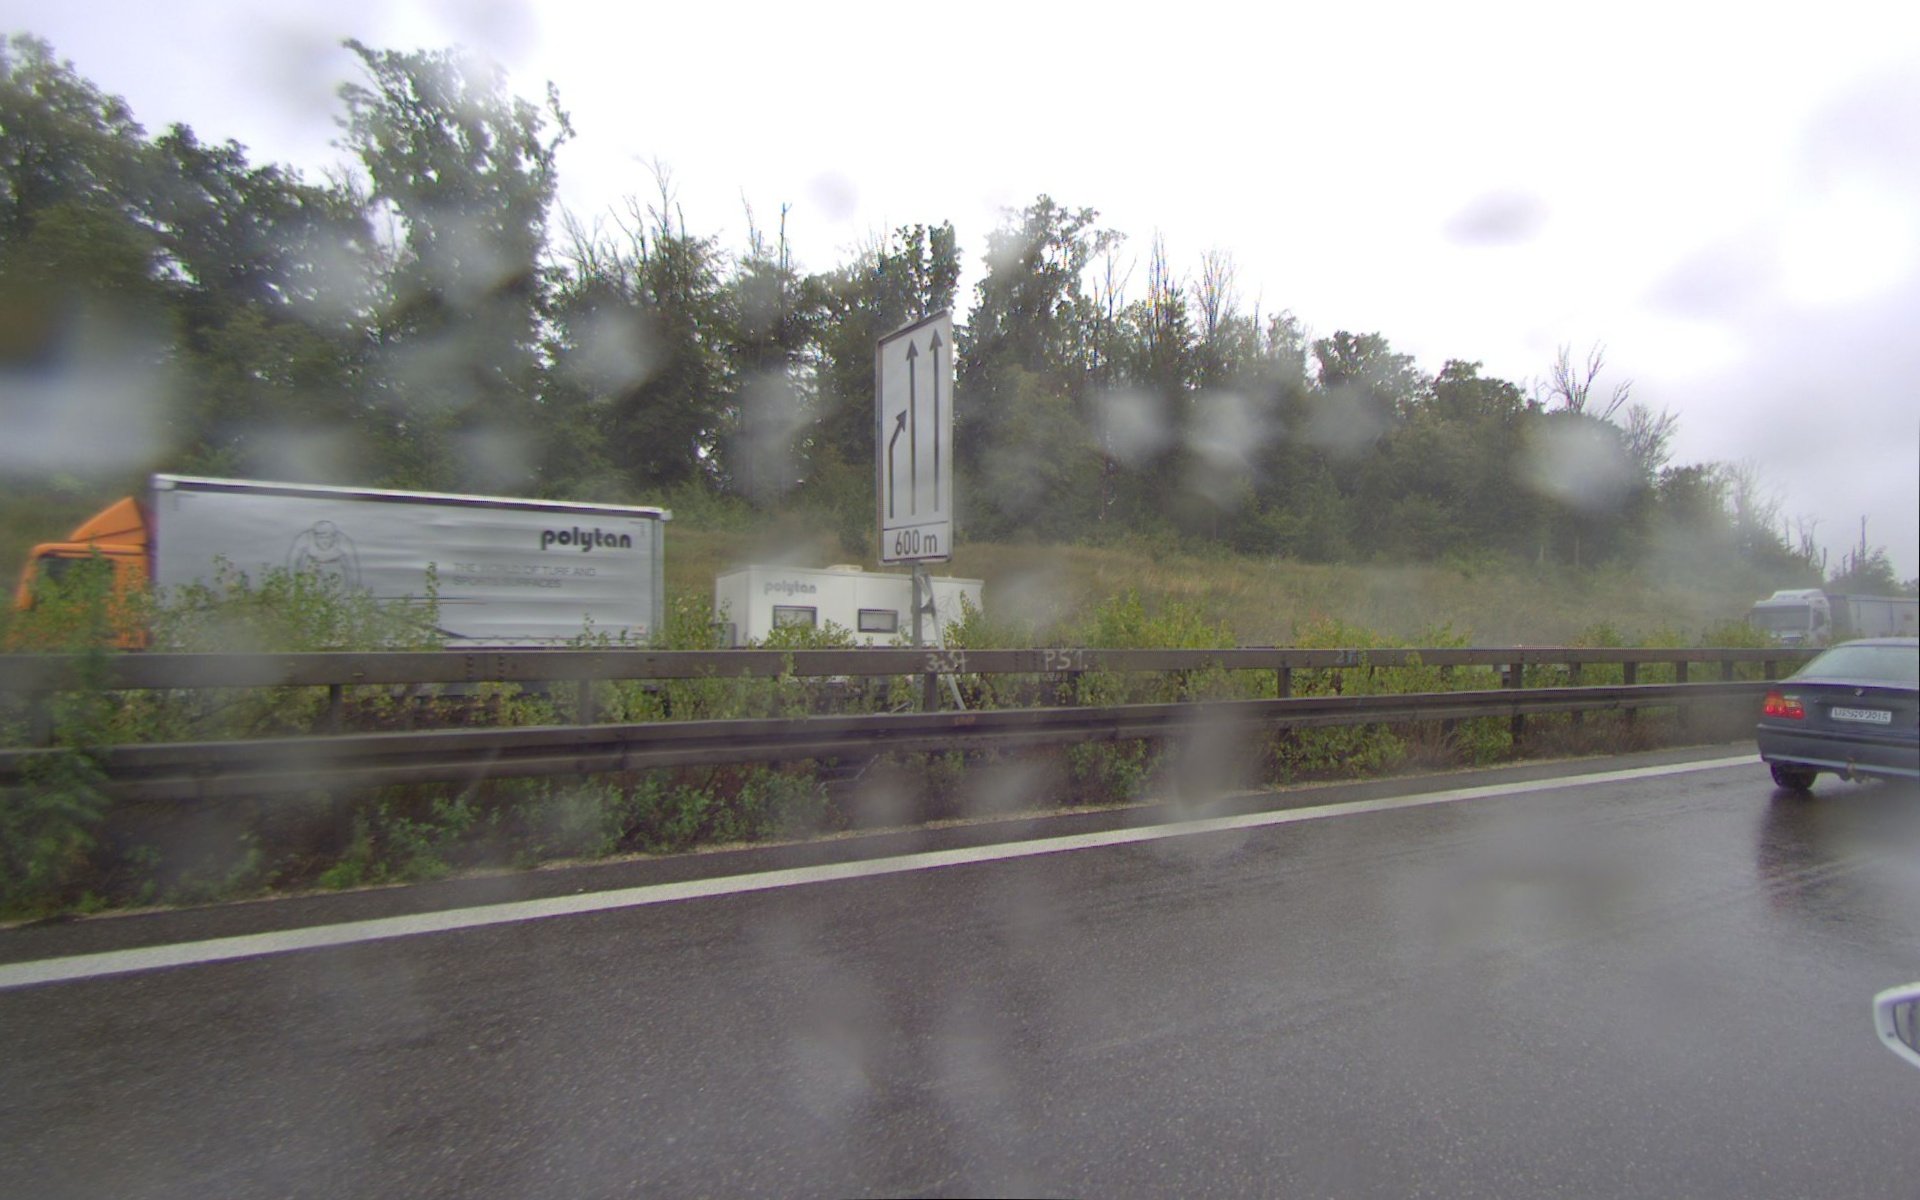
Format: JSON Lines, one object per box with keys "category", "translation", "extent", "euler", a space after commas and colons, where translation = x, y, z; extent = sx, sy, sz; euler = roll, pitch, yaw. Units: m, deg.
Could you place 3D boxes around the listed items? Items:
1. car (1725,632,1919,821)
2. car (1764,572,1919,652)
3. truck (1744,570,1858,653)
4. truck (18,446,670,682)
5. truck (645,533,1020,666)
{"category": "car", "translation": [9.014, 1.039, 9.176], "extent": [4.178, 1.418, 1.710], "euler": [1, -1, -29]}
{"category": "car", "translation": [43.704, 0.669, 49.558], "extent": [10.847, 3.659, 2.672], "euler": [2, 0, -31]}
{"category": "truck", "translation": [38.927, 0.538, 46.502], "extent": [4.552, 3.659, 2.673], "euler": [2, 0, -31]}
{"category": "truck", "translation": [-10.134, -0.461, 17.838], "extent": [9.150, 3.325, 2.910], "euler": [1, 0, -32]}
{"category": "truck", "translation": [-2.634, 0.071, 22.156], "extent": [7.804, 2.513, 2.637], "euler": [2, 0, -32]}
